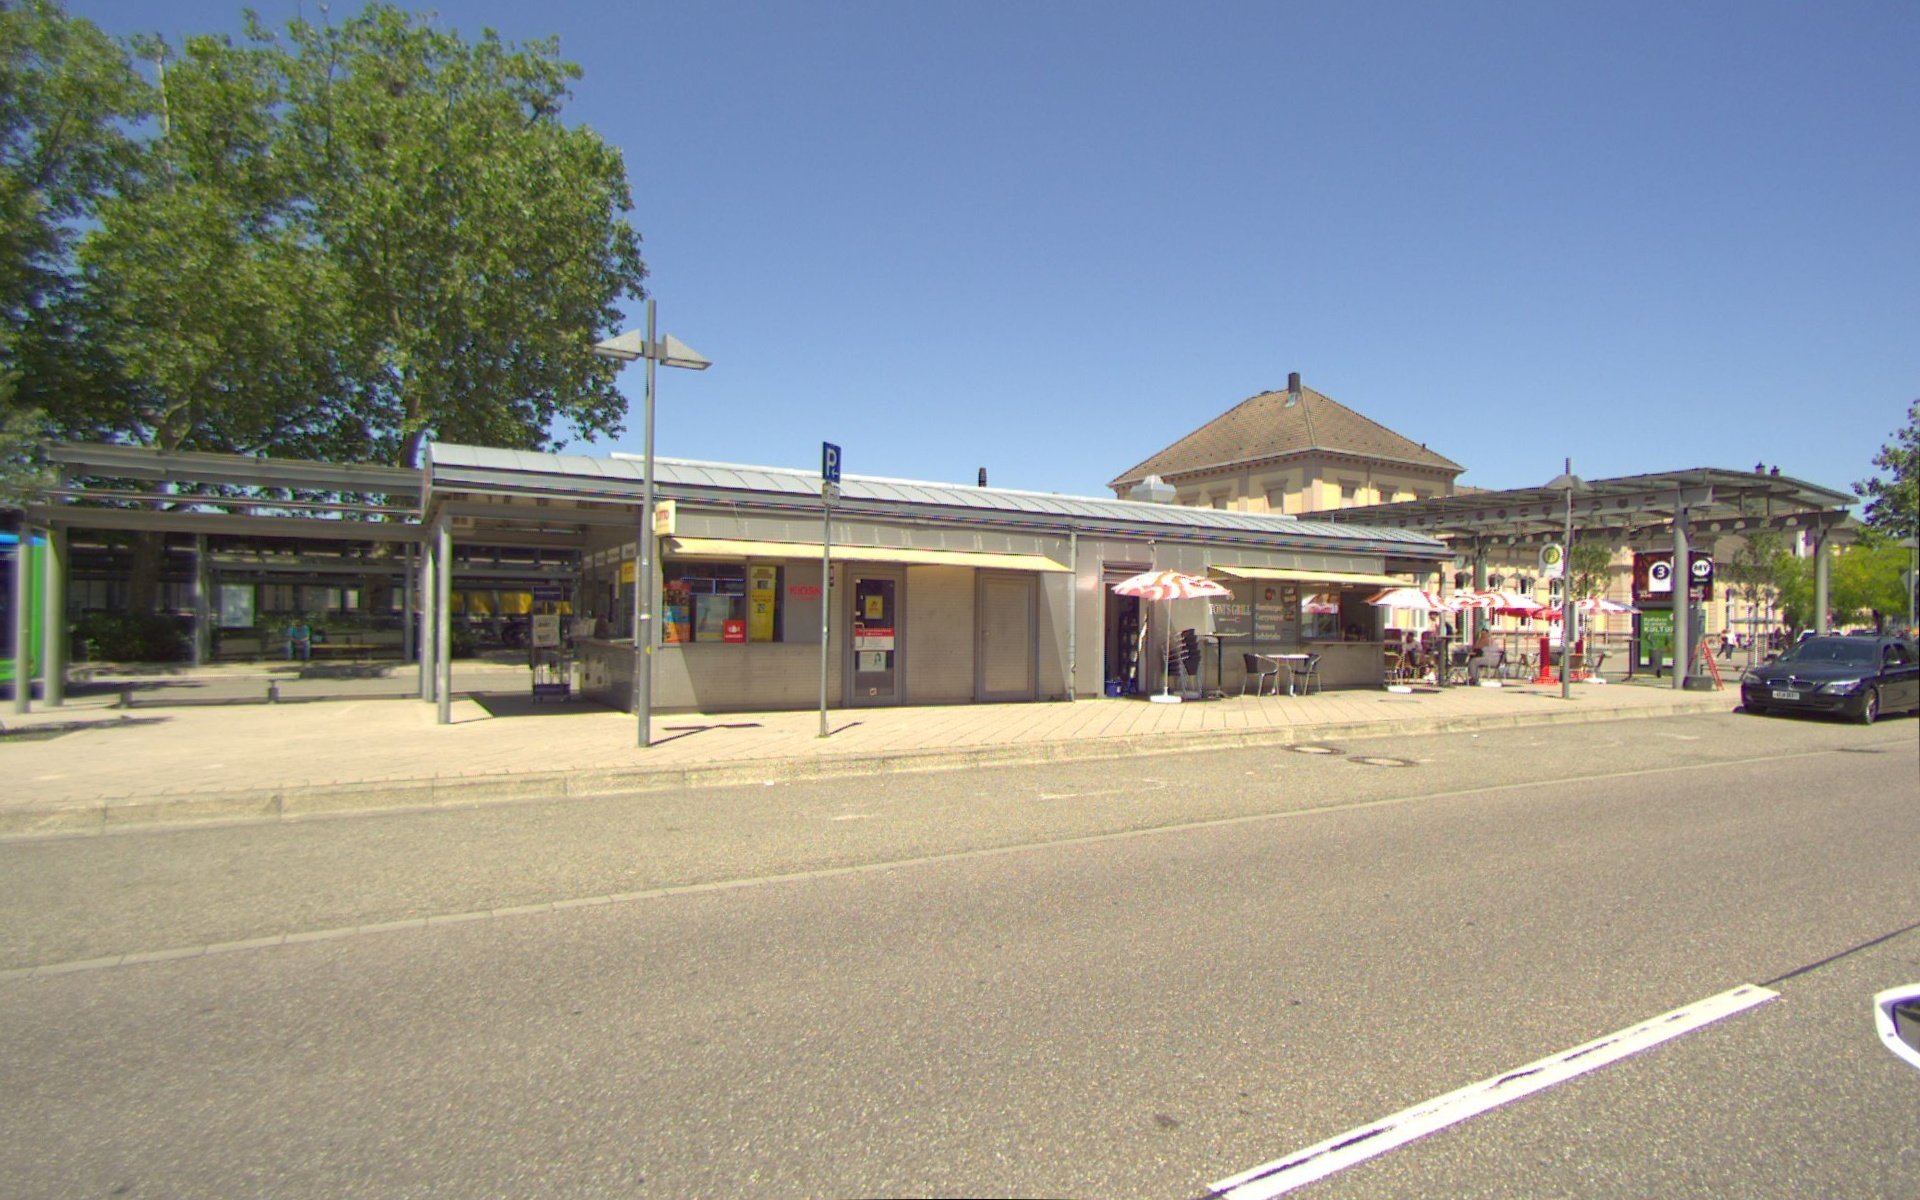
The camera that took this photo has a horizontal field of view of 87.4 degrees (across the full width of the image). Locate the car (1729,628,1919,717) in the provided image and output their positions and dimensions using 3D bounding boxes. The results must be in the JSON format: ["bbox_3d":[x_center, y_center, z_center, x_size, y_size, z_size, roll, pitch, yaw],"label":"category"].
[{"bbox_3d":[16.518,1.300,18.910,4.733,1.498,1.709,2,-2,-32],"label":"car"}]

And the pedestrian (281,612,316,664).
[{"bbox_3d":[-19.204,1.093,29.168,0.813,1.483,0.601,1,-1,-34],"label":"pedestrian"}]

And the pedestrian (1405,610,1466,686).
[{"bbox_3d":[11.968,1.203,25.300,1.123,1.851,0.800,3,-2,-14],"label":"pedestrian"}]

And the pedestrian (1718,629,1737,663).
[{"bbox_3d":[39.670,2.377,51.915,0.573,1.732,0.588,2,-2,14],"label":"pedestrian"}]

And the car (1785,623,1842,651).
[{"bbox_3d":[61.868,2.628,72.823,4.720,1.943,1.742,0,-1,-31],"label":"car"}]

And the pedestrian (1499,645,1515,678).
[{"bbox_3d":[15.635,1.755,28.711,0.365,0.935,0.425,1,-2,30],"label":"pedestrian"}]

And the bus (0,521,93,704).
[{"bbox_3d":[-23.346,0.137,17.593,12.098,3.573,2.148,2,-1,-35],"label":"bus"}]

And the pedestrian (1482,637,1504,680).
[{"bbox_3d":[14.310,1.566,26.969,0.417,1.137,0.372,1,-2,4],"label":"pedestrian"}]

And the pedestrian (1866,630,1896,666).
[{"bbox_3d":[43.978,2.301,47.964,0.708,1.681,0.761,2,-2,-13],"label":"pedestrian"}]

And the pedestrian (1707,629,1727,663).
[{"bbox_3d":[38.920,2.355,51.647,0.644,1.695,0.632,2,-2,14],"label":"pedestrian"}]

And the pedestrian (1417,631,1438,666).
[{"bbox_3d":[13.574,1.411,29.169,0.366,0.985,0.424,3,-2,-17],"label":"pedestrian"}]
